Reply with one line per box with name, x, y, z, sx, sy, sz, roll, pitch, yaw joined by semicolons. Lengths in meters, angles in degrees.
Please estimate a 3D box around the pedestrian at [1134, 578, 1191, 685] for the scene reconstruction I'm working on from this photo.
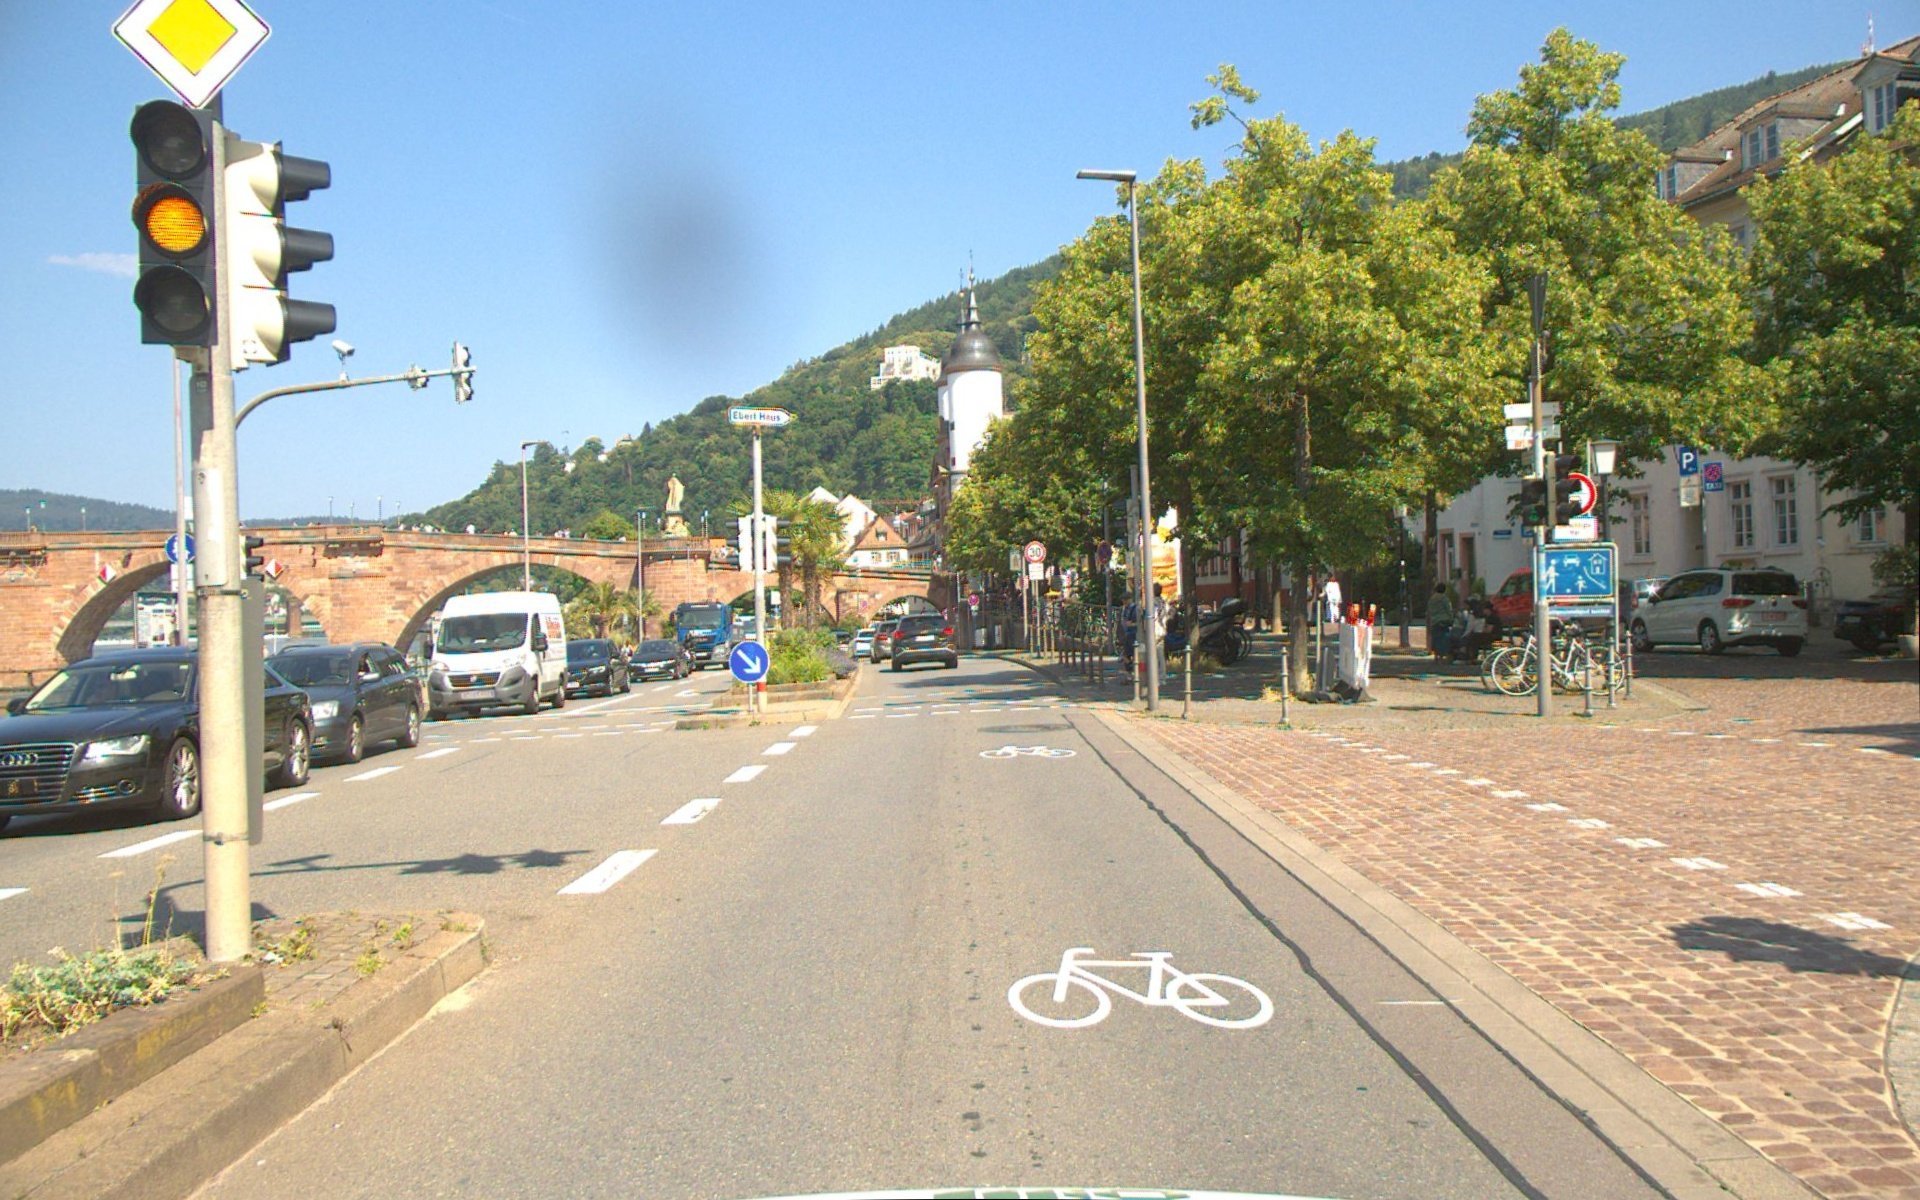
pedestrian;3.520;0.541;28.814;0.681;1.802;0.762;-4;0;-11

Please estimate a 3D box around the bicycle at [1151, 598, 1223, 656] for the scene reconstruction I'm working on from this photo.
bicycle;4.866;0.575;35.498;1.456;1.139;0.293;-3;0;-8

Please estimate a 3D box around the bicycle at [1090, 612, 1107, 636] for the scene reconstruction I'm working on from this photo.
bicycle;4.169;0.717;49.778;0.245;0.675;1.468;-2;0;-4

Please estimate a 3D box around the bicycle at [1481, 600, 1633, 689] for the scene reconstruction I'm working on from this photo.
bicycle;8.370;0.614;23.244;1.956;1.219;0.522;0;0;9

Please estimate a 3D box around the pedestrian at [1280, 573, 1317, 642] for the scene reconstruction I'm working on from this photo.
pedestrian;8.489;0.190;41.487;0.693;1.682;0.706;-2;0;-3

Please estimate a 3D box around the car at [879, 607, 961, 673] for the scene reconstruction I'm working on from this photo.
car;-1.165;1.062;45.832;1.889;1.580;4.827;-4;0;-5

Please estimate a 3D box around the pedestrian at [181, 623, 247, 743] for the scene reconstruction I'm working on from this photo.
pedestrian;-11.678;1.288;25.915;0.681;1.811;0.762;3;-1;-11

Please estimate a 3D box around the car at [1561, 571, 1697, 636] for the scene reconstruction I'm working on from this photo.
car;16.323;0.100;40.540;1.642;1.457;3.467;-2;0;-5

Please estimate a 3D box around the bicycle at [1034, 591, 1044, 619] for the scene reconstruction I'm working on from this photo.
bicycle;3.169;0.208;66.379;0.245;1.115;1.488;0;-1;-3

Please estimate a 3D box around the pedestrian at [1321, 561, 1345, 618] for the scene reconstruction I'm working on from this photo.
pedestrian;13.686;-0.376;60.751;0.622;2.049;0.644;-2;0;-3

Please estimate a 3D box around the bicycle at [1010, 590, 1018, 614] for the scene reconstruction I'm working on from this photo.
bicycle;2.564;0.086;78.997;0.348;1.115;1.489;-1;-1;3

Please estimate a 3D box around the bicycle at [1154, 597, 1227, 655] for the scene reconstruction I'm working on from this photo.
bicycle;4.901;0.546;35.203;1.456;1.139;0.293;-3;0;-8

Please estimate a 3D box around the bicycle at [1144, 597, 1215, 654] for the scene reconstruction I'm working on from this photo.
bicycle;4.818;0.560;36.321;1.456;1.139;0.250;-3;0;-8

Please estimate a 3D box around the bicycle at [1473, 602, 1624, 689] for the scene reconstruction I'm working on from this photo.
bicycle;8.434;0.650;23.750;1.969;1.219;0.522;-1;0;9

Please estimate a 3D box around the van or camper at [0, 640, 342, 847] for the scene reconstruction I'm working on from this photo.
van or camper;-7.691;1.230;15.624;1.954;1.502;5.061;-4;0;-3

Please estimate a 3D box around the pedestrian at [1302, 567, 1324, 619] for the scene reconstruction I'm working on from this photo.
pedestrian;12.788;-0.255;59.952;0.574;1.840;0.596;-2;0;-3

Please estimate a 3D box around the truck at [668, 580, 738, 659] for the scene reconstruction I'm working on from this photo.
truck;-11.841;0.870;76.653;2.605;3.463;4.447;-2;0;-3

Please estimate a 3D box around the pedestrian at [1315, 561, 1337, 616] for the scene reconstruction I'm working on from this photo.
pedestrian;13.969;-0.442;63.189;0.574;2.048;0.596;-3;0;-3

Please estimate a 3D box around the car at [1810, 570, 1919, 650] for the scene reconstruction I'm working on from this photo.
car;18.712;0.136;32.055;3.668;1.457;1.620;-2;0;-5

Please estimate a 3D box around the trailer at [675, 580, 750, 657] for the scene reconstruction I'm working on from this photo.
trailer;-12.049;0.870;81.274;2.605;3.463;8.821;-2;0;-3

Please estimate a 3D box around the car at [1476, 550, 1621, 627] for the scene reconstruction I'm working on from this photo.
car;16.062;-0.303;45.433;1.955;1.935;4.629;-2;0;-5

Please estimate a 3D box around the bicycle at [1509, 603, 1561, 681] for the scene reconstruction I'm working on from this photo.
bicycle;8.721;0.617;25.134;0.581;1.086;2.067;-3;0;16

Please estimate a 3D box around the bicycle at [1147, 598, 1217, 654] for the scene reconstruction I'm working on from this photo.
bicycle;4.915;0.565;36.598;1.456;1.139;0.250;-3;0;-8

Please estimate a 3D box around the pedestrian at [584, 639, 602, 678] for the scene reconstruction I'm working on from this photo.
pedestrian;-17.544;2.805;79.108;0.748;1.811;0.694;-2;0;-11

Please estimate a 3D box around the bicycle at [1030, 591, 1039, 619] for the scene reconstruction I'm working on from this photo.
bicycle;3.070;0.204;68.303;0.245;1.115;1.488;0;-1;-3

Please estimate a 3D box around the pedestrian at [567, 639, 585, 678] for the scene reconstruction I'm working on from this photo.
pedestrian;-18.307;2.801;78.878;0.748;1.811;0.694;-2;0;-11

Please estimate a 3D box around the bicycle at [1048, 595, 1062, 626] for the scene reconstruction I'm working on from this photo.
bicycle;3.462;0.373;60.412;0.338;1.115;1.488;0;-1;-3

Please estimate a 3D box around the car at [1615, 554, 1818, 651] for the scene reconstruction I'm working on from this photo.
car;14.897;0.036;32.875;1.733;1.759;4.565;-1;0;-3

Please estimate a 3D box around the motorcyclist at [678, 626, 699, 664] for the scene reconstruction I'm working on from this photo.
motorcyclist;-11.161;1.843;67.966;0.721;1.496;1.010;-2;0;-4

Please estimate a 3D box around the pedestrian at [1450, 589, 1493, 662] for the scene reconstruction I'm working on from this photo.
pedestrian;9.947;0.484;32.156;0.614;1.406;0.540;0;-1;-11

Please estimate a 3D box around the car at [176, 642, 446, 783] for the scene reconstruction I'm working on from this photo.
car;-8.481;1.403;22.091;1.914;1.433;4.567;-5;0;-3

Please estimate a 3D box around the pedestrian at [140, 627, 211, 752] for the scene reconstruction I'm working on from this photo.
pedestrian;-11.796;1.331;24.893;0.681;1.811;0.762;3;-1;-11

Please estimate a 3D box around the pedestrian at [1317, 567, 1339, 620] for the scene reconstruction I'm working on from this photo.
pedestrian;13.352;-0.245;59.966;0.574;1.872;0.596;-2;0;-3

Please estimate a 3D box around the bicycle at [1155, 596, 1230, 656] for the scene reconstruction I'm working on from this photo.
bicycle;4.883;0.543;34.704;1.456;1.139;0.377;-3;0;-8

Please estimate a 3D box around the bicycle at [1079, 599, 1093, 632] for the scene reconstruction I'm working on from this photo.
bicycle;4.022;0.490;52.821;0.245;1.018;1.487;0;-1;-4

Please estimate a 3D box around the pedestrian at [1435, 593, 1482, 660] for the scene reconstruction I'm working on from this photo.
pedestrian;9.892;0.515;32.818;0.614;1.304;0.752;0;0;-11

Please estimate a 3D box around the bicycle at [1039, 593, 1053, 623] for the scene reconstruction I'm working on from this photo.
bicycle;3.324;0.305;63.979;0.270;1.114;1.488;-7;0;-3

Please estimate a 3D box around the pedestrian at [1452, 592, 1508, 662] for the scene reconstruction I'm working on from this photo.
pedestrian;9.859;0.507;31.366;0.681;1.274;0.762;-2;0;-11

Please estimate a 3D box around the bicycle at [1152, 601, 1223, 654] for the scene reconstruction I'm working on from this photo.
bicycle;4.958;0.601;36.088;1.456;1.049;0.293;-3;0;-8

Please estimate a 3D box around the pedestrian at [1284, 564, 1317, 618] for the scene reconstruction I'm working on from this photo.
pedestrian;12.515;-0.329;60.818;0.949;1.948;0.747;-2;-1;-2

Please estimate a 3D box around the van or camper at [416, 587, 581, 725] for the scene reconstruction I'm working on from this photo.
van or camper;-9.400;1.108;34.197;1.954;2.492;5.491;-4;-1;-3

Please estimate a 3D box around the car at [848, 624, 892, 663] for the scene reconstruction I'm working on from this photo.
car;-4.245;2.021;78.076;1.954;1.580;4.829;-2;0;-3

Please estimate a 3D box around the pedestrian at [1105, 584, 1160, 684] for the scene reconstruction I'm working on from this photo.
pedestrian;3.072;0.600;29.462;0.681;1.706;0.762;-4;0;-11

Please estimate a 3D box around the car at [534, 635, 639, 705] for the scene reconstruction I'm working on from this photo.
car;-9.647;1.772;43.057;1.783;1.481;4.925;-4;0;-3

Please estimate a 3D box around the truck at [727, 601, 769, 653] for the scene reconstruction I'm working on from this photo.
truck;-14.893;1.858;116.373;2.606;3.463;5.129;-2;0;-5

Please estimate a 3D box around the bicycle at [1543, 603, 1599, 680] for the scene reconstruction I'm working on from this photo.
bicycle;9.186;0.613;24.911;0.581;1.086;2.066;-3;-1;16

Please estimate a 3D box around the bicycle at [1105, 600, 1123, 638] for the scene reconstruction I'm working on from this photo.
bicycle;4.337;0.528;46.644;0.245;1.028;1.487;-2;0;-4

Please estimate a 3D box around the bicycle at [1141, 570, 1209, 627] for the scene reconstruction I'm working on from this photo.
bicycle;5.972;-0.041;45.969;1.794;1.509;0.285;-3;-1;-5

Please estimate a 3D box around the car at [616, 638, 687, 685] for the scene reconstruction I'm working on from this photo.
car;-10.891;2.164;58.672;1.914;1.437;4.214;-4;-1;-4

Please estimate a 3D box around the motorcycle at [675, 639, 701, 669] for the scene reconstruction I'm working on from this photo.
motorcycle;-11.157;2.201;67.948;0.742;1.151;2.454;-2;0;-3

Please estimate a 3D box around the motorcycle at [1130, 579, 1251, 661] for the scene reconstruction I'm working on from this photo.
motorcycle;4.584;0.412;32.960;2.254;1.490;0.761;-4;-1;38

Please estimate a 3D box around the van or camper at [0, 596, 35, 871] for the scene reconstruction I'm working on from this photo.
van or camper;-7.570;0.973;9.308;1.954;1.906;5.176;-3;0;-3

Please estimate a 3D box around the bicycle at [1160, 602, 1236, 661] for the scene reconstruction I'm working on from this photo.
bicycle;4.936;0.647;34.323;1.455;1.139;0.294;-3;0;-5

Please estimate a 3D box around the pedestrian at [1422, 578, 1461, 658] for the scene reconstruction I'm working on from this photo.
pedestrian;9.439;0.356;32.427;0.450;1.544;0.689;-1;0;-10
